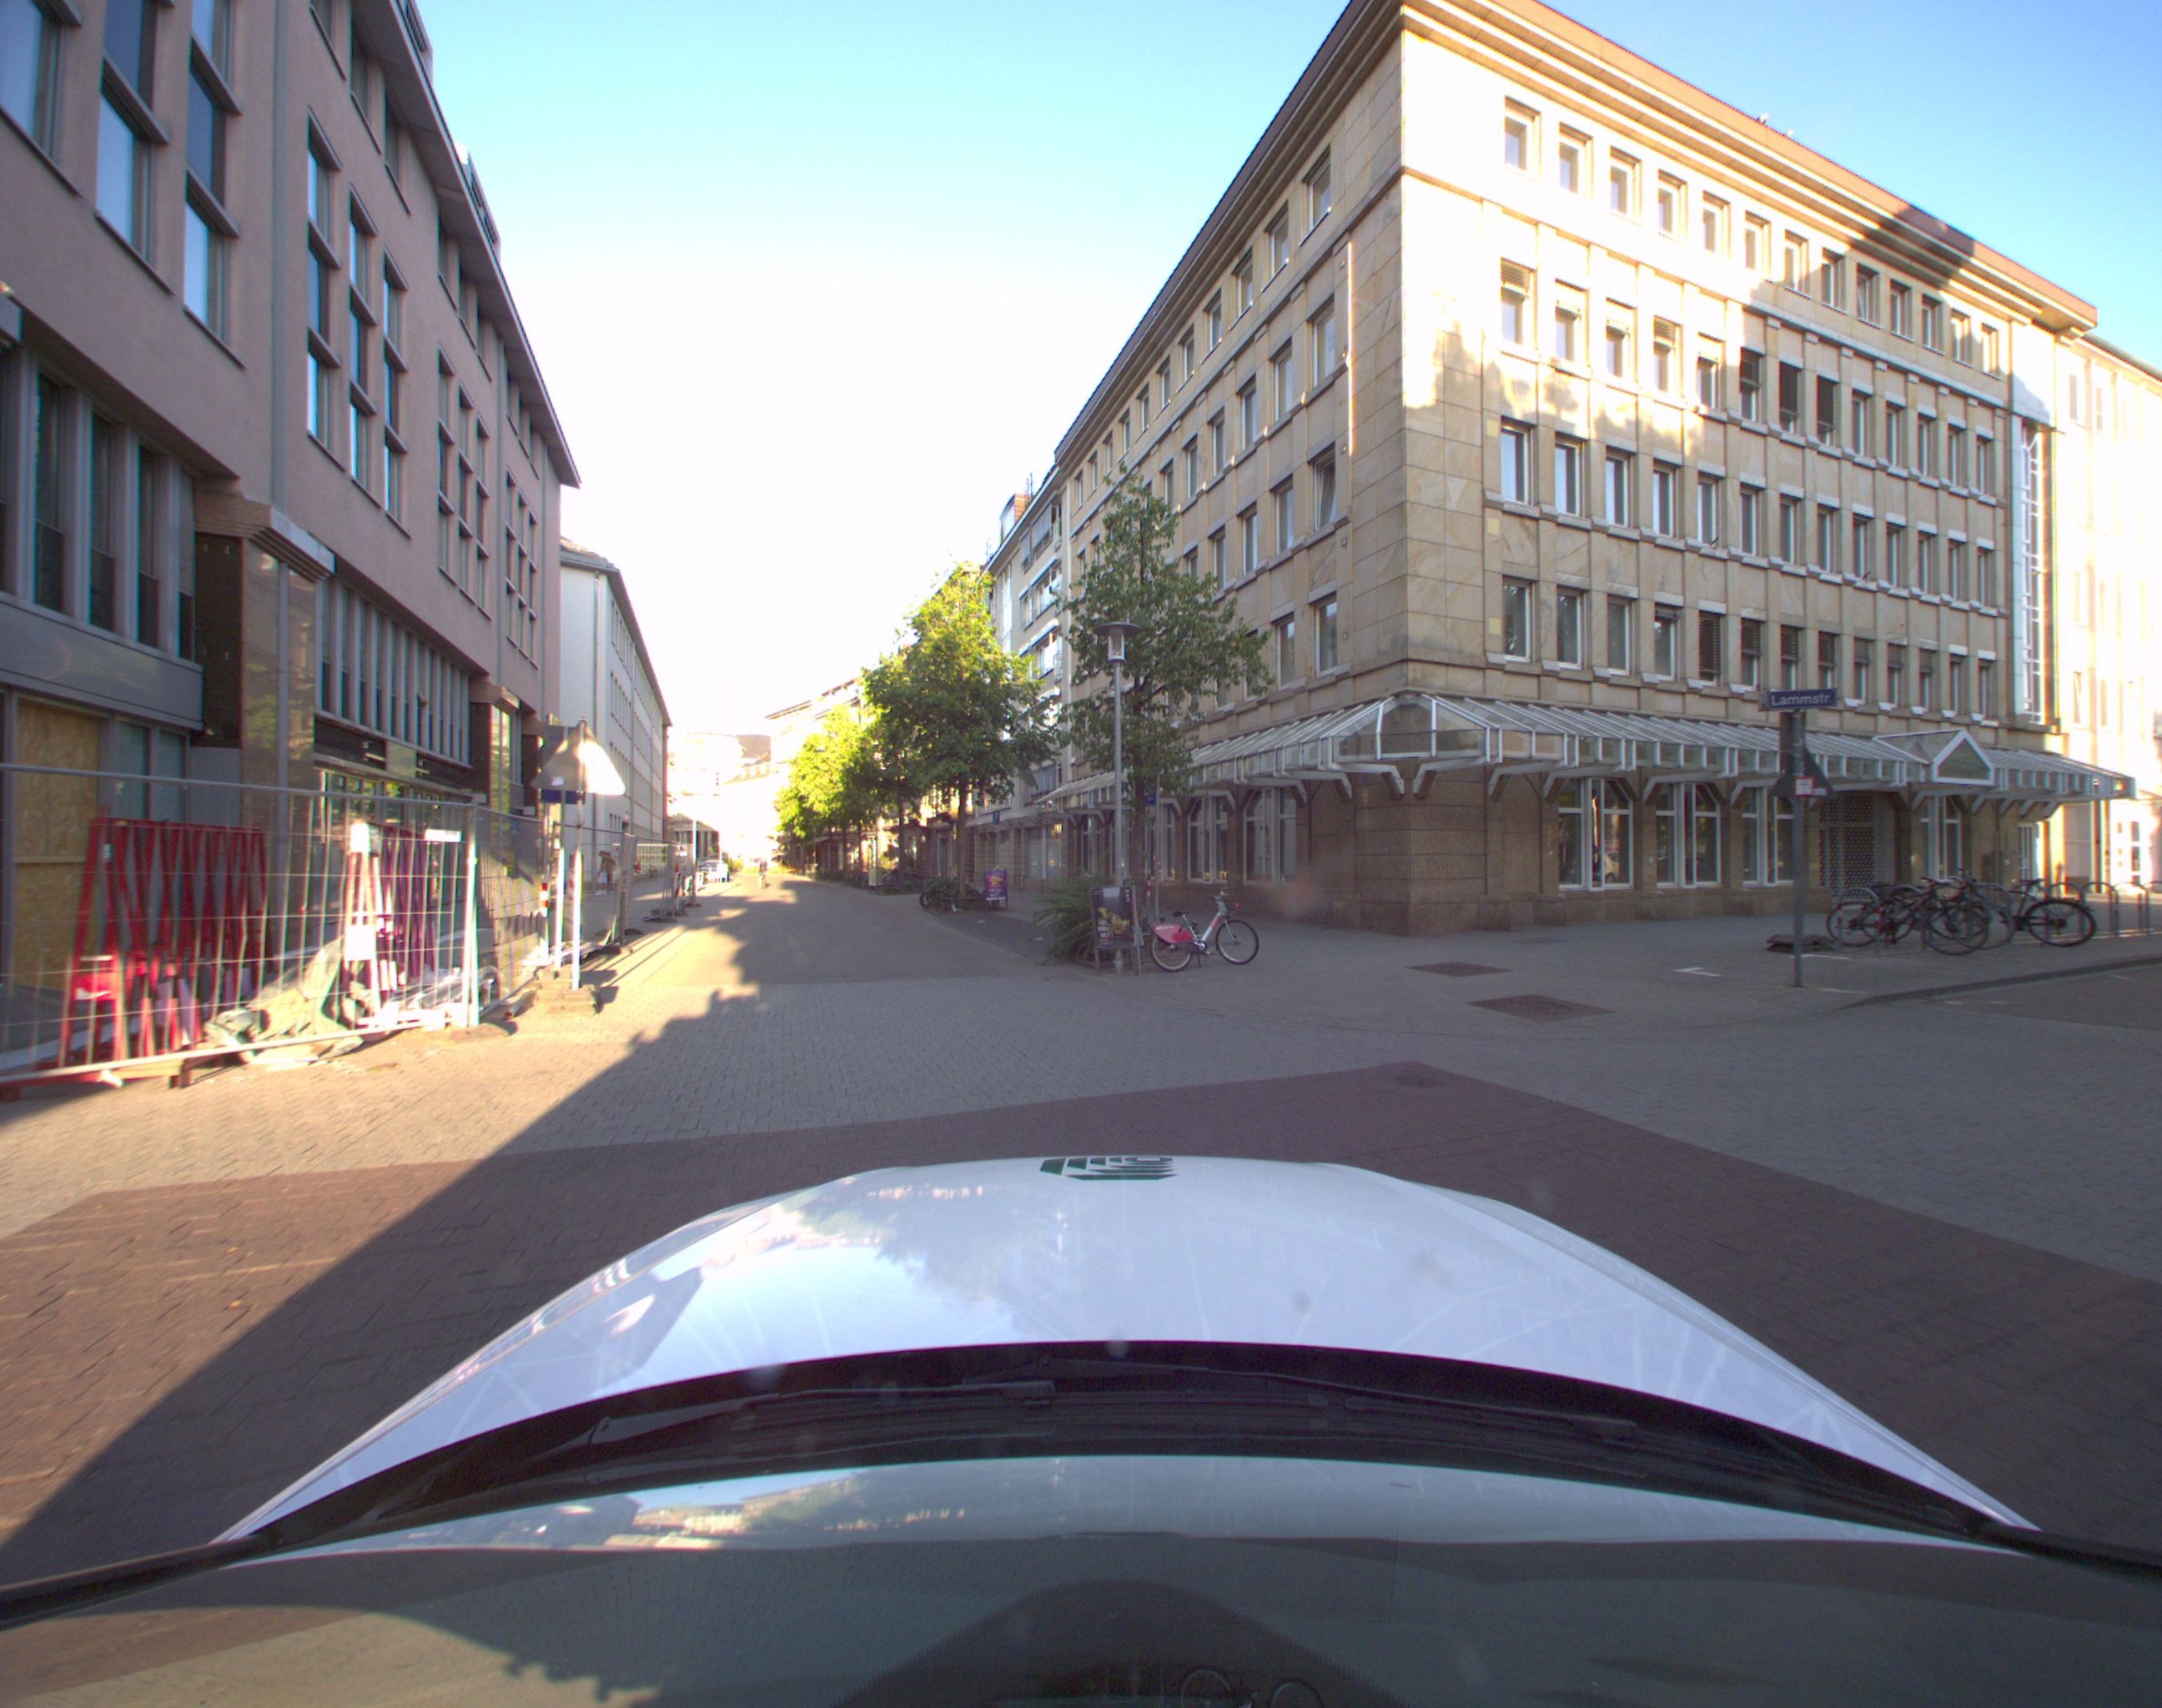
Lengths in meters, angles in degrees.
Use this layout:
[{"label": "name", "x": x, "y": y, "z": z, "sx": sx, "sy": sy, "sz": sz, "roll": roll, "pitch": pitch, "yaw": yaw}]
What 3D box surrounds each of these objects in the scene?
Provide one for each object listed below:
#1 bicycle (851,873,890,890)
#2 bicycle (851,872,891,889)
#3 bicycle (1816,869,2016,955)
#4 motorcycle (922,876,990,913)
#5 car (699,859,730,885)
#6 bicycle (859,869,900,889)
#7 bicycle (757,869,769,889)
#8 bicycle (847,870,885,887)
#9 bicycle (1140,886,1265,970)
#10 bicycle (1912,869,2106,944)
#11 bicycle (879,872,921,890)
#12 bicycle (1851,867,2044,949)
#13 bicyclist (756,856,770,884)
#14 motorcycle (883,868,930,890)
[{"label": "bicycle", "x": -12.385, "y": 1.629, "z": 47.965, "sx": 2.166, "sy": 0.926, "sz": 0.585, "roll": 0, "pitch": -1, "yaw": -29}, {"label": "bicycle", "x": -12.125, "y": 1.495, "z": 46.964, "sx": 2.166, "sy": 0.926, "sz": 0.585, "roll": 0, "pitch": -1, "yaw": -29}, {"label": "bicycle", "x": 11.834, "y": 0.772, "z": 11.640, "sx": 0.544, "sy": 1.050, "sz": 1.936, "roll": 0, "pitch": 1, "yaw": -20}, {"label": "motorcycle", "x": -4.135, "y": 1.321, "z": 27.013, "sx": 2.163, "sy": 1.151, "sz": 0.490, "roll": -1, "pitch": -1, "yaw": -25}, {"label": "car", "x": -25.658, "y": 1.240, "z": 56.922, "sx": 1.852, "sy": 1.684, "sz": 3.613, "roll": 0, "pitch": 0, "yaw": -26}, {"label": "bicycle", "x": -11.106, "y": 1.392, "z": 44.988, "sx": 2.151, "sy": 1.061, "sz": 0.589, "roll": -1, "pitch": -1, "yaw": -8}, {"label": "bicycle", "x": -17.471, "y": 1.358, "z": 44.723, "sx": 0.591, "sy": 1.095, "sz": 2.144, "roll": -1, "pitch": -1, "yaw": -22}, {"label": "bicycle", "x": -12.872, "y": 1.466, "z": 48.801, "sx": 2.166, "sy": 0.926, "sz": 0.585, "roll": 0, "pitch": -1, "yaw": -29}, {"label": "bicycle", "x": 1.748, "y": 1.053, "z": 11.822, "sx": 1.652, "sy": 1.050, "sz": 0.662, "roll": -3, "pitch": 1, "yaw": -4}, {"label": "bicycle", "x": 14.309, "y": 0.770, "z": 12.639, "sx": 0.514, "sy": 1.028, "sz": 1.934, "roll": 0, "pitch": 0, "yaw": -22}, {"label": "bicycle", "x": -9.642, "y": 1.436, "z": 43.468, "sx": 2.170, "sy": 0.926, "sz": 0.584, "roll": 0, "pitch": -1, "yaw": -37}, {"label": "bicycle", "x": 12.985, "y": 0.764, "z": 12.296, "sx": 0.544, "sy": 1.050, "sz": 1.937, "roll": 0, "pitch": 1, "yaw": -19}, {"label": "bicyclist", "x": -17.389, "y": 0.865, "z": 44.540, "sx": 0.724, "sy": 1.468, "sz": 0.712, "roll": 0, "pitch": 0, "yaw": -23}, {"label": "motorcycle", "x": -9.077, "y": 1.286, "z": 42.457, "sx": 2.493, "sy": 1.095, "sz": 0.583, "roll": 0, "pitch": -1, "yaw": -44}]
